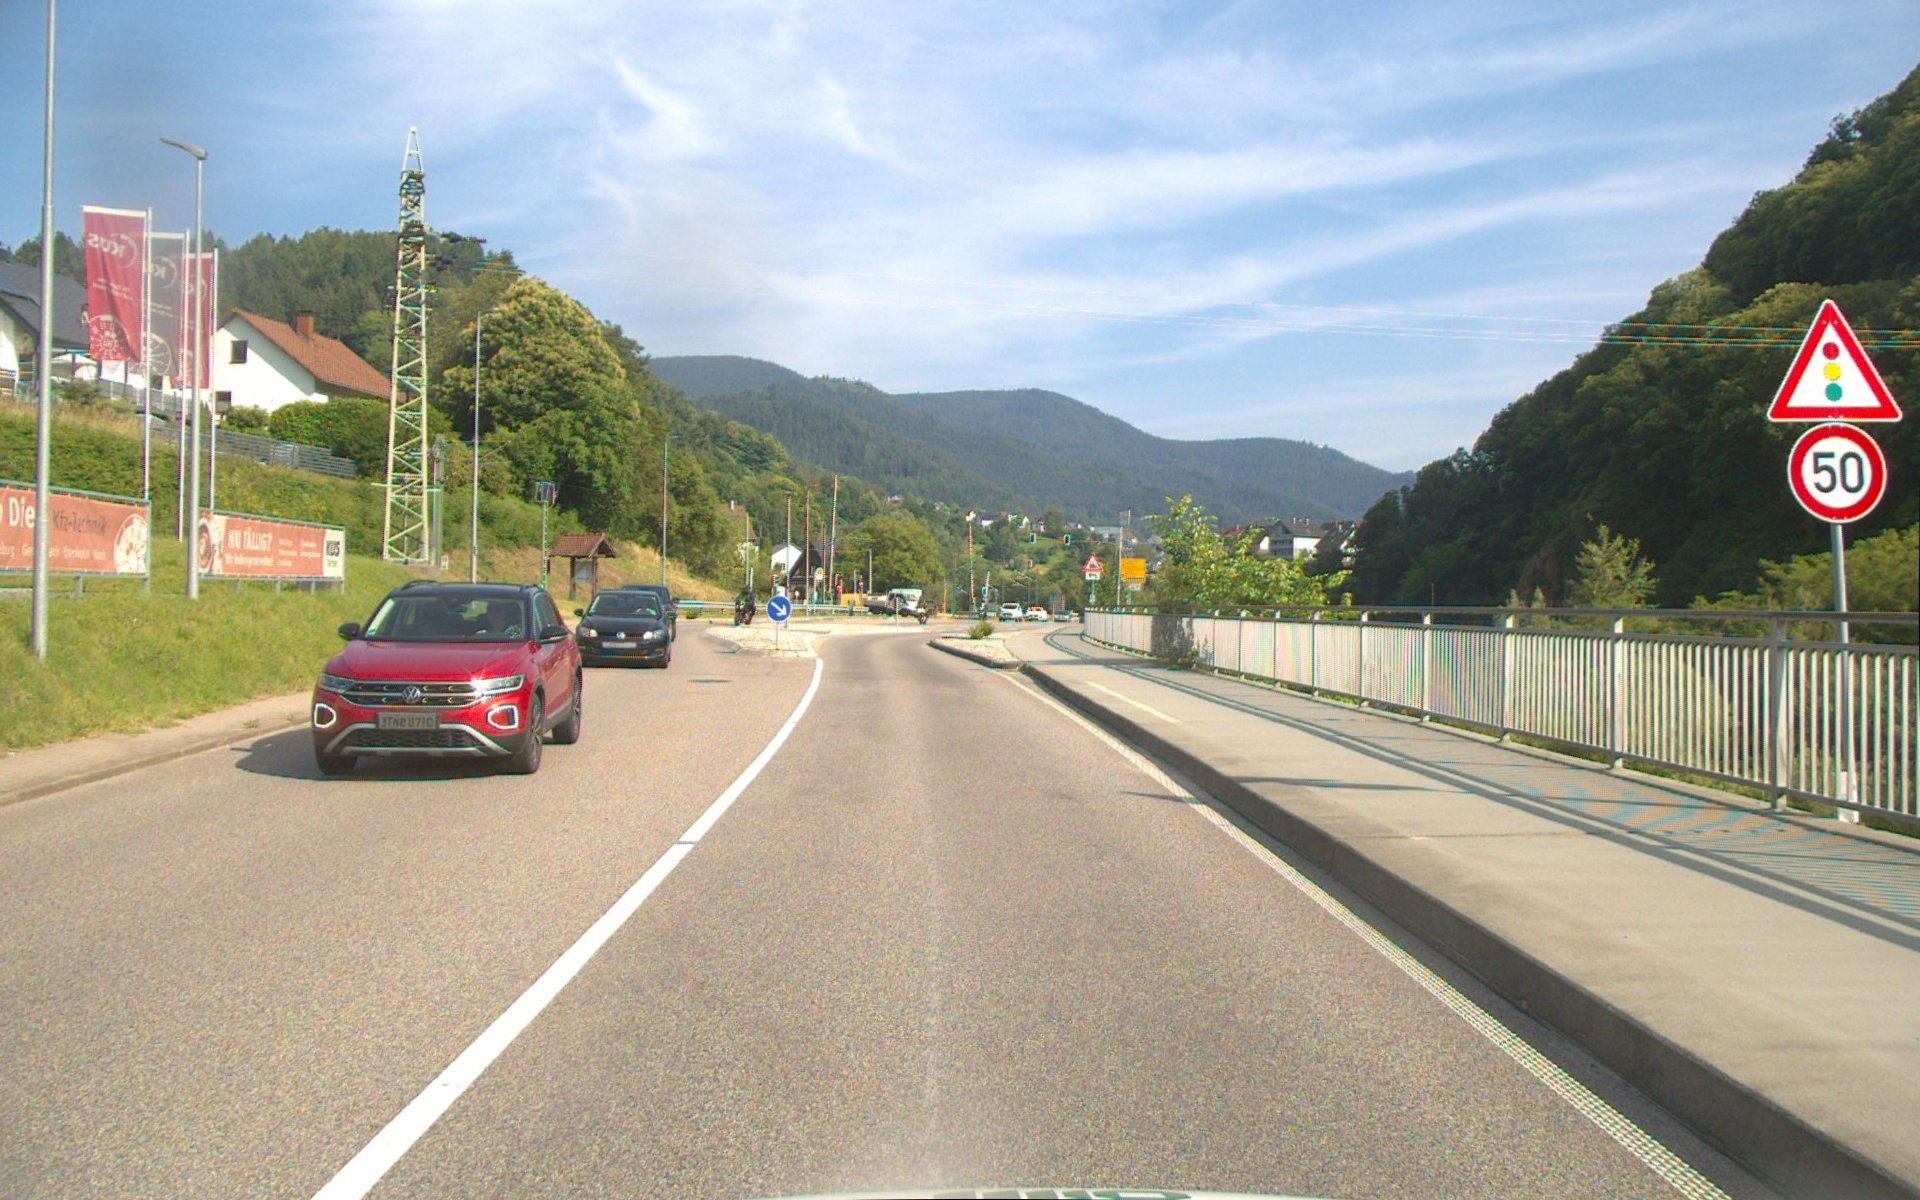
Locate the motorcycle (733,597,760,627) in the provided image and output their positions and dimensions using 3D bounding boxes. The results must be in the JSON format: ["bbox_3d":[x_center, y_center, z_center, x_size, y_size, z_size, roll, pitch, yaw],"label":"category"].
[{"bbox_3d":[-9.091,0.501,70.435,0.879,1.204,2.298,1,0,-13],"label":"motorcycle"}]

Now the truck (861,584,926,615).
[{"bbox_3d":[-5.867,-0.057,145.366,5.899,2.305,1.987,4,1,43],"label":"truck"}]

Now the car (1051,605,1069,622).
[{"bbox_3d":[12.121,1.655,200.474,1.721,1.548,4.206,1,-6,9],"label":"car"}]

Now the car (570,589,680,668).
[{"bbox_3d":[-6.501,0.516,32.438,1.741,1.432,4.266,0,0,-7],"label":"car"}]

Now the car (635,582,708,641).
[{"bbox_3d":[-8.003,0.282,46.179,1.741,1.543,4.266,1,0,-7],"label":"car"}]

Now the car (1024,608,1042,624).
[{"bbox_3d":[7.329,1.622,166.798,1.745,1.424,4.828,2,0,2],"label":"car"}]

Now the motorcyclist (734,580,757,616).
[{"bbox_3d":[-9.203,-0.093,70.968,0.890,1.545,0.844,1,0,-14],"label":"motorcyclist"}]

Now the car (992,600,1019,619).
[{"bbox_3d":[4.158,0.861,150.047,1.726,1.588,4.003,0,-2,12],"label":"car"}]

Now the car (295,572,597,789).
[{"bbox_3d":[-4.398,0.602,14.782,1.672,1.611,4.154,-1,0,-5],"label":"car"}]
